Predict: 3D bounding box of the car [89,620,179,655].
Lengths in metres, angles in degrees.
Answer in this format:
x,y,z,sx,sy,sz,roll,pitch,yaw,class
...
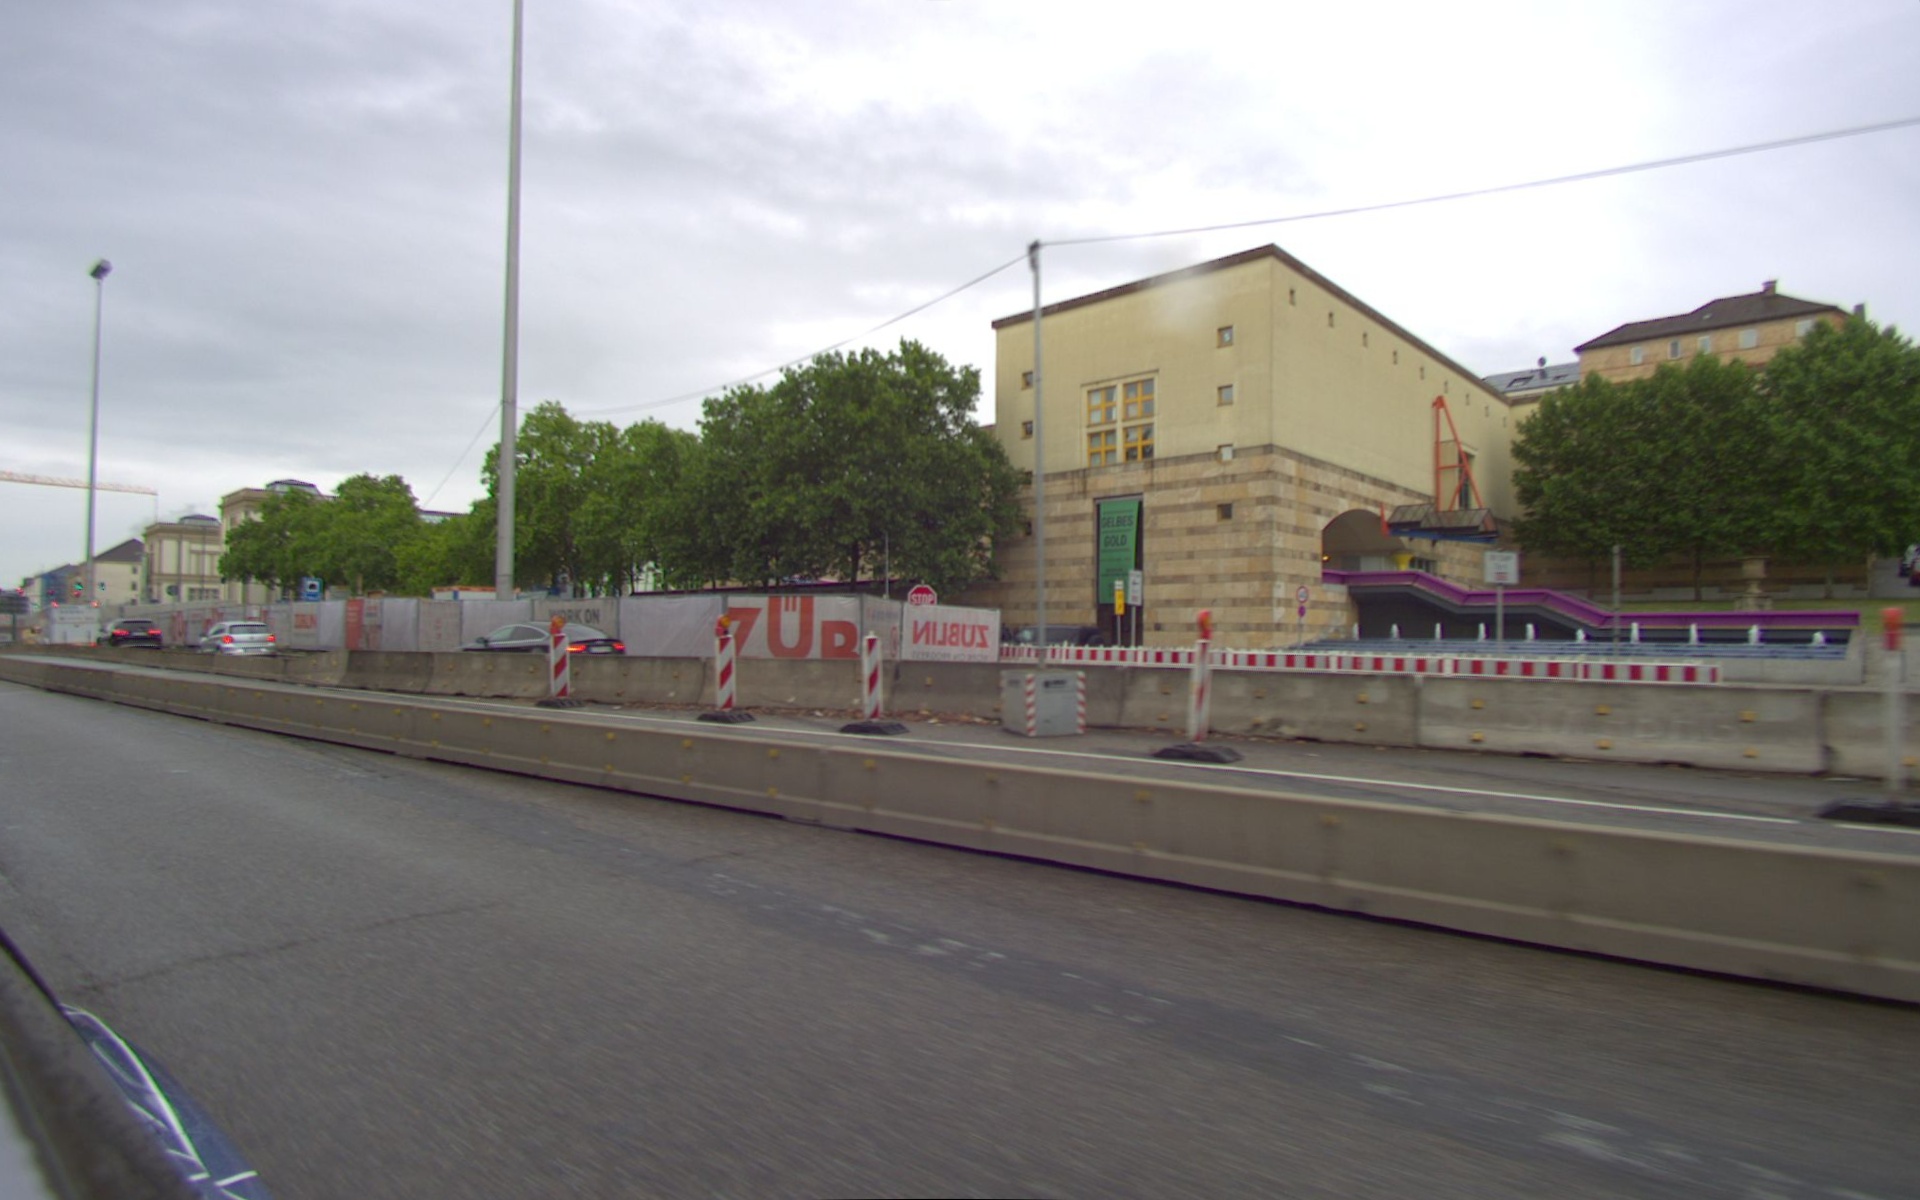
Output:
x,y,z,sx,sy,sz,roll,pitch,yaw,class
-37.643,1.700,46.068,4.749,1.542,1.904,-1,-3,35,car

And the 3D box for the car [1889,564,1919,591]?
x,y,z,sx,sy,sz,roll,pitch,yaw,class
72.026,-1.700,76.940,1.812,1.796,3.947,0,-3,39,car

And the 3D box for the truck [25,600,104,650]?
x,y,z,sx,sy,sz,roll,pitch,yaw,class
-51.657,1.471,58.313,7.350,2.740,2.373,-1,-3,41,truck

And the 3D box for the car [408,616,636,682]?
x,y,z,sx,sy,sz,roll,pitch,yaw,class
-9.286,1.000,21.413,4.740,1.272,1.765,-1,-1,25,car
